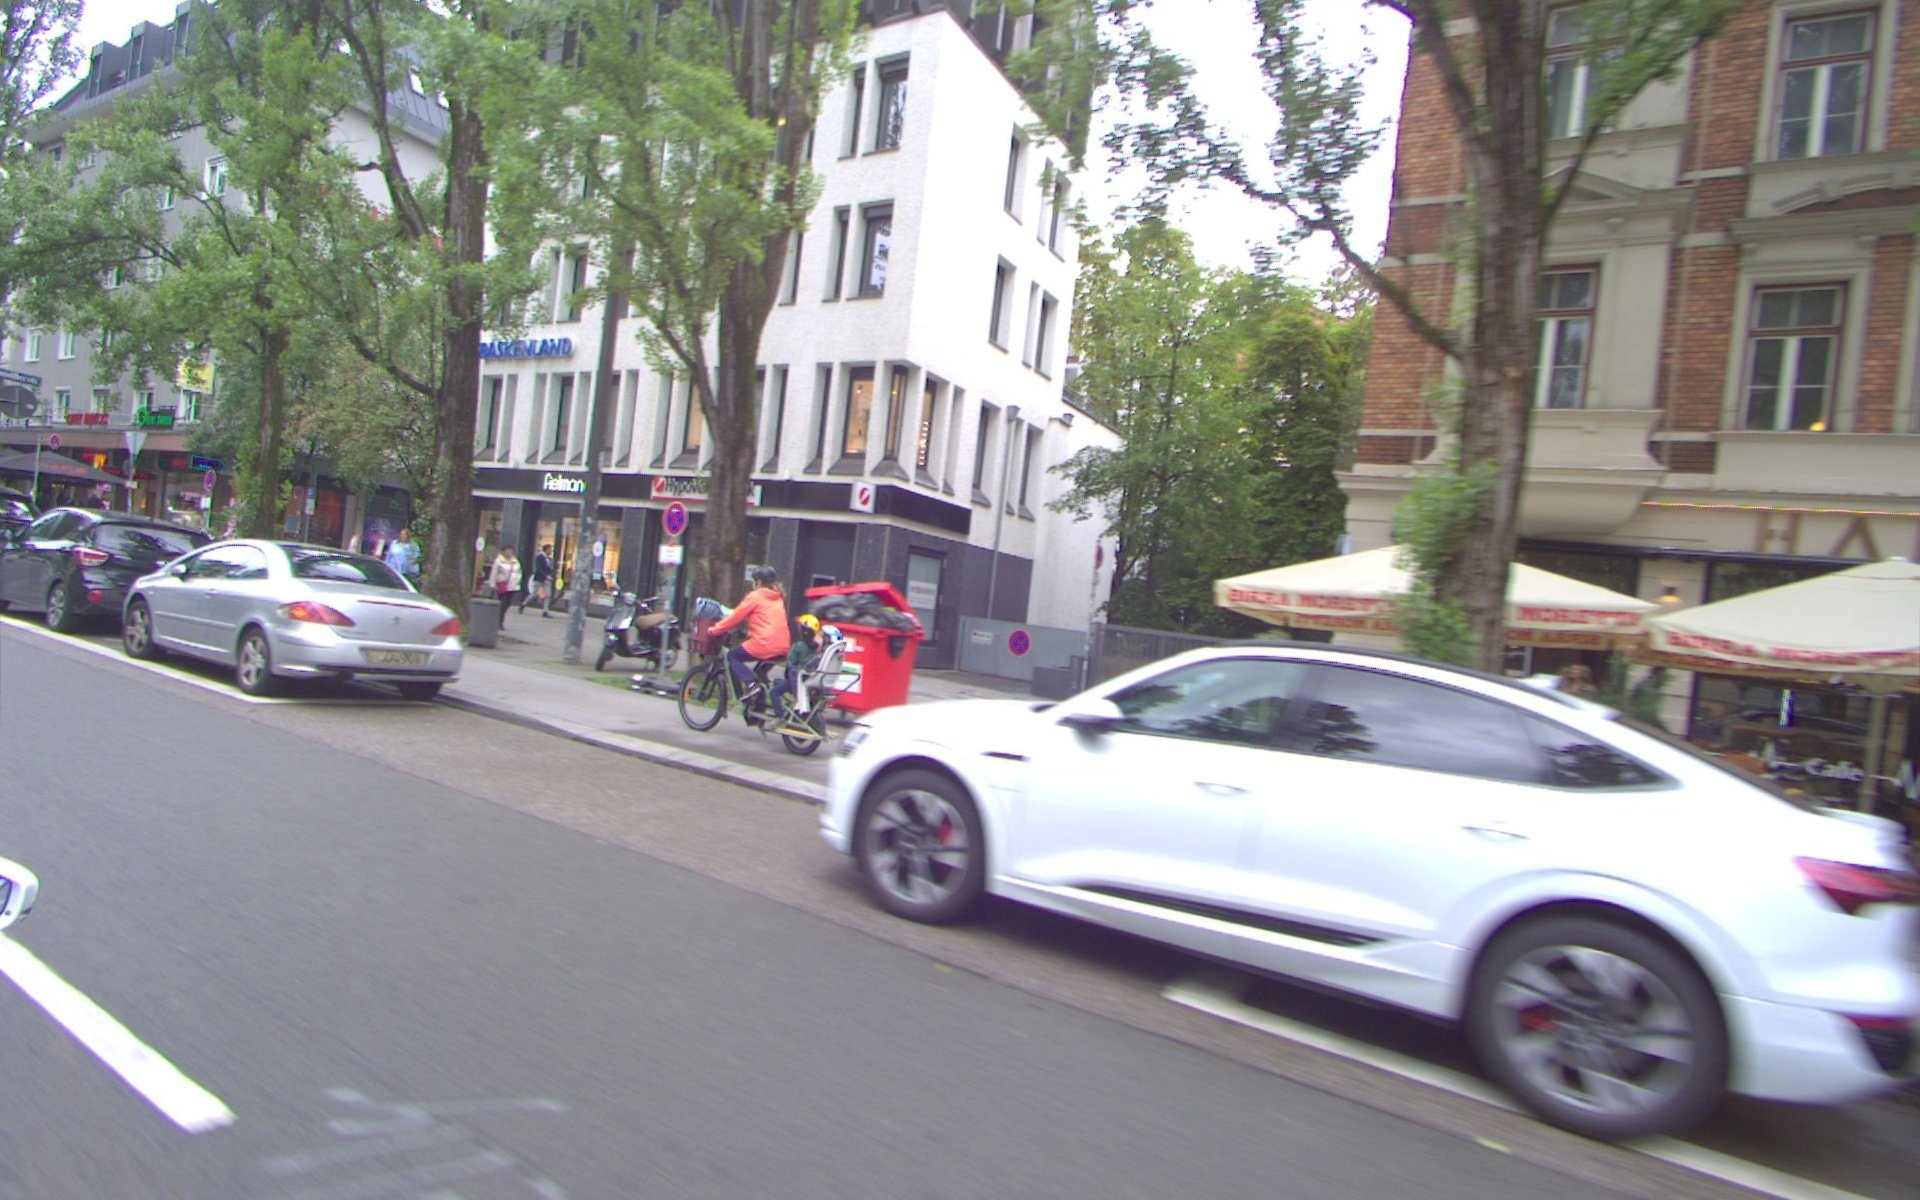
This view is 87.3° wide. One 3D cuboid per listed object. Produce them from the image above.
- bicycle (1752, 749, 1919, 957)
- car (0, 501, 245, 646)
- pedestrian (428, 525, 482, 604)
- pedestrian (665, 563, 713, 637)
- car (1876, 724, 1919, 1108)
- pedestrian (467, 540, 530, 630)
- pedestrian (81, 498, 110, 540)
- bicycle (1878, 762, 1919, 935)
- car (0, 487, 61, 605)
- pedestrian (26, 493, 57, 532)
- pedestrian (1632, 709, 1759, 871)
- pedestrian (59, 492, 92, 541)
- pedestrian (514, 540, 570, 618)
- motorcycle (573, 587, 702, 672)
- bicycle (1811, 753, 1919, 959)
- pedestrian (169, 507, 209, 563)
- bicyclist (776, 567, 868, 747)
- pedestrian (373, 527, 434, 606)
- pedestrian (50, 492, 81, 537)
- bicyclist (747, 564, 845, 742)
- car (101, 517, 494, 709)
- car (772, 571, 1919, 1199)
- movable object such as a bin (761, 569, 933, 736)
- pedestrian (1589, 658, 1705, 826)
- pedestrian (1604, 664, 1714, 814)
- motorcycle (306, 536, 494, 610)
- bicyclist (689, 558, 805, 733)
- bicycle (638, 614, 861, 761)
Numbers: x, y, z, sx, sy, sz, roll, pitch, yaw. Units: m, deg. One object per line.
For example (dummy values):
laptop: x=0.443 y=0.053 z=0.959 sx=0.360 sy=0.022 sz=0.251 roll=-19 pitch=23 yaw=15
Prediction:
bicycle: x=6.353 y=1.758 z=7.356 sx=0.364 sy=1.153 sz=1.834 roll=7 pitch=0 yaw=25
car: x=-11.121 y=-0.382 z=12.989 sx=3.523 sy=1.431 sz=1.685 roll=7 pitch=-2 yaw=31
pedestrian: x=-12.569 y=-0.871 z=25.036 sx=0.671 sy=1.834 sz=0.794 roll=7 pitch=1 yaw=29
pedestrian: x=-6.431 y=0.012 z=23.873 sx=0.692 sy=1.647 sz=0.654 roll=7 pitch=1 yaw=29
car: x=5.696 y=1.484 z=2.630 sx=4.408 sy=1.585 sz=1.996 roll=7 pitch=0 yaw=31
pedestrian: x=-8.848 y=-0.287 z=19.312 sx=0.693 sy=1.620 sz=0.655 roll=7 pitch=-1 yaw=32
pedestrian: x=-34.132 y=-3.206 z=39.734 sx=0.476 sy=1.545 sz=0.641 roll=7 pitch=1 yaw=31
bicycle: x=7.228 y=1.856 z=7.048 sx=0.566 sy=1.207 sz=1.874 roll=7 pitch=0 yaw=27
car: x=-15.475 y=-1.013 z=15.071 sx=4.036 sy=1.612 sz=1.801 roll=7 pitch=-2 yaw=32
pedestrian: x=-37.753 y=-3.598 z=41.343 sx=0.667 sy=1.487 sz=0.685 roll=7 pitch=1 yaw=31
pedestrian: x=6.774 y=1.716 z=9.319 sx=0.719 sy=1.283 sz=0.929 roll=7 pitch=1 yaw=30
pedestrian: x=-30.390 y=-2.865 z=34.568 sx=0.476 sy=1.545 sz=0.641 roll=7 pitch=1 yaw=31
pedestrian: x=-10.307 y=-0.511 z=24.791 sx=0.845 sy=1.771 sz=0.728 roll=7 pitch=-1 yaw=32
motorcycle: x=-4.843 y=0.469 z=15.239 sx=0.683 sy=1.153 sz=1.834 roll=7 pitch=0 yaw=25
bicycle: x=6.784 y=1.806 z=7.301 sx=0.413 sy=1.207 sz=1.715 roll=7 pitch=0 yaw=27
pedestrian: x=-26.435 y=-2.221 z=34.493 sx=0.845 sy=1.771 sz=0.654 roll=7 pitch=-1 yaw=32
bicyclist: x=-1.292 y=0.532 z=9.457 sx=0.385 sy=1.608 sz=0.622 roll=7 pitch=1 yaw=30
pedestrian: x=-12.503 y=-0.736 z=22.628 sx=0.751 sy=1.646 sz=0.738 roll=7 pitch=-1 yaw=6
pedestrian: x=-33.542 y=-3.203 z=37.726 sx=0.476 sy=1.545 sz=0.641 roll=7 pitch=1 yaw=31
bicyclist: x=-1.566 y=0.503 z=9.621 sx=0.473 sy=1.608 sz=0.622 roll=7 pitch=1 yaw=31
car: x=-6.907 y=0.104 z=10.400 sx=4.058 sy=1.423 sz=1.674 roll=7 pitch=-2 yaw=31
car: x=1.538 y=0.976 z=4.972 sx=4.668 sy=1.640 sz=1.831 roll=7 pitch=-1 yaw=31
movable object such as a bin: x=-1.335 y=0.607 z=11.981 sx=1.559 sy=1.724 sz=1.035 roll=7 pitch=1 yaw=28
pedestrian: x=8.212 y=1.665 z=12.072 sx=0.916 sy=1.825 sz=0.730 roll=7 pitch=1 yaw=32
pedestrian: x=8.745 y=1.712 z=12.625 sx=0.916 sy=1.698 sz=0.730 roll=7 pitch=1 yaw=32
motorcycle: x=-11.061 y=-0.492 z=20.064 sx=1.172 sy=1.103 sz=3.127 roll=7 pitch=0 yaw=24
bicyclist: x=-2.097 y=0.444 z=9.944 sx=0.740 sy=1.608 sz=0.622 roll=7 pitch=1 yaw=31
bicycle: x=-2.116 y=0.822 z=9.935 sx=2.225 sy=1.100 sz=0.627 roll=7 pitch=1 yaw=31
